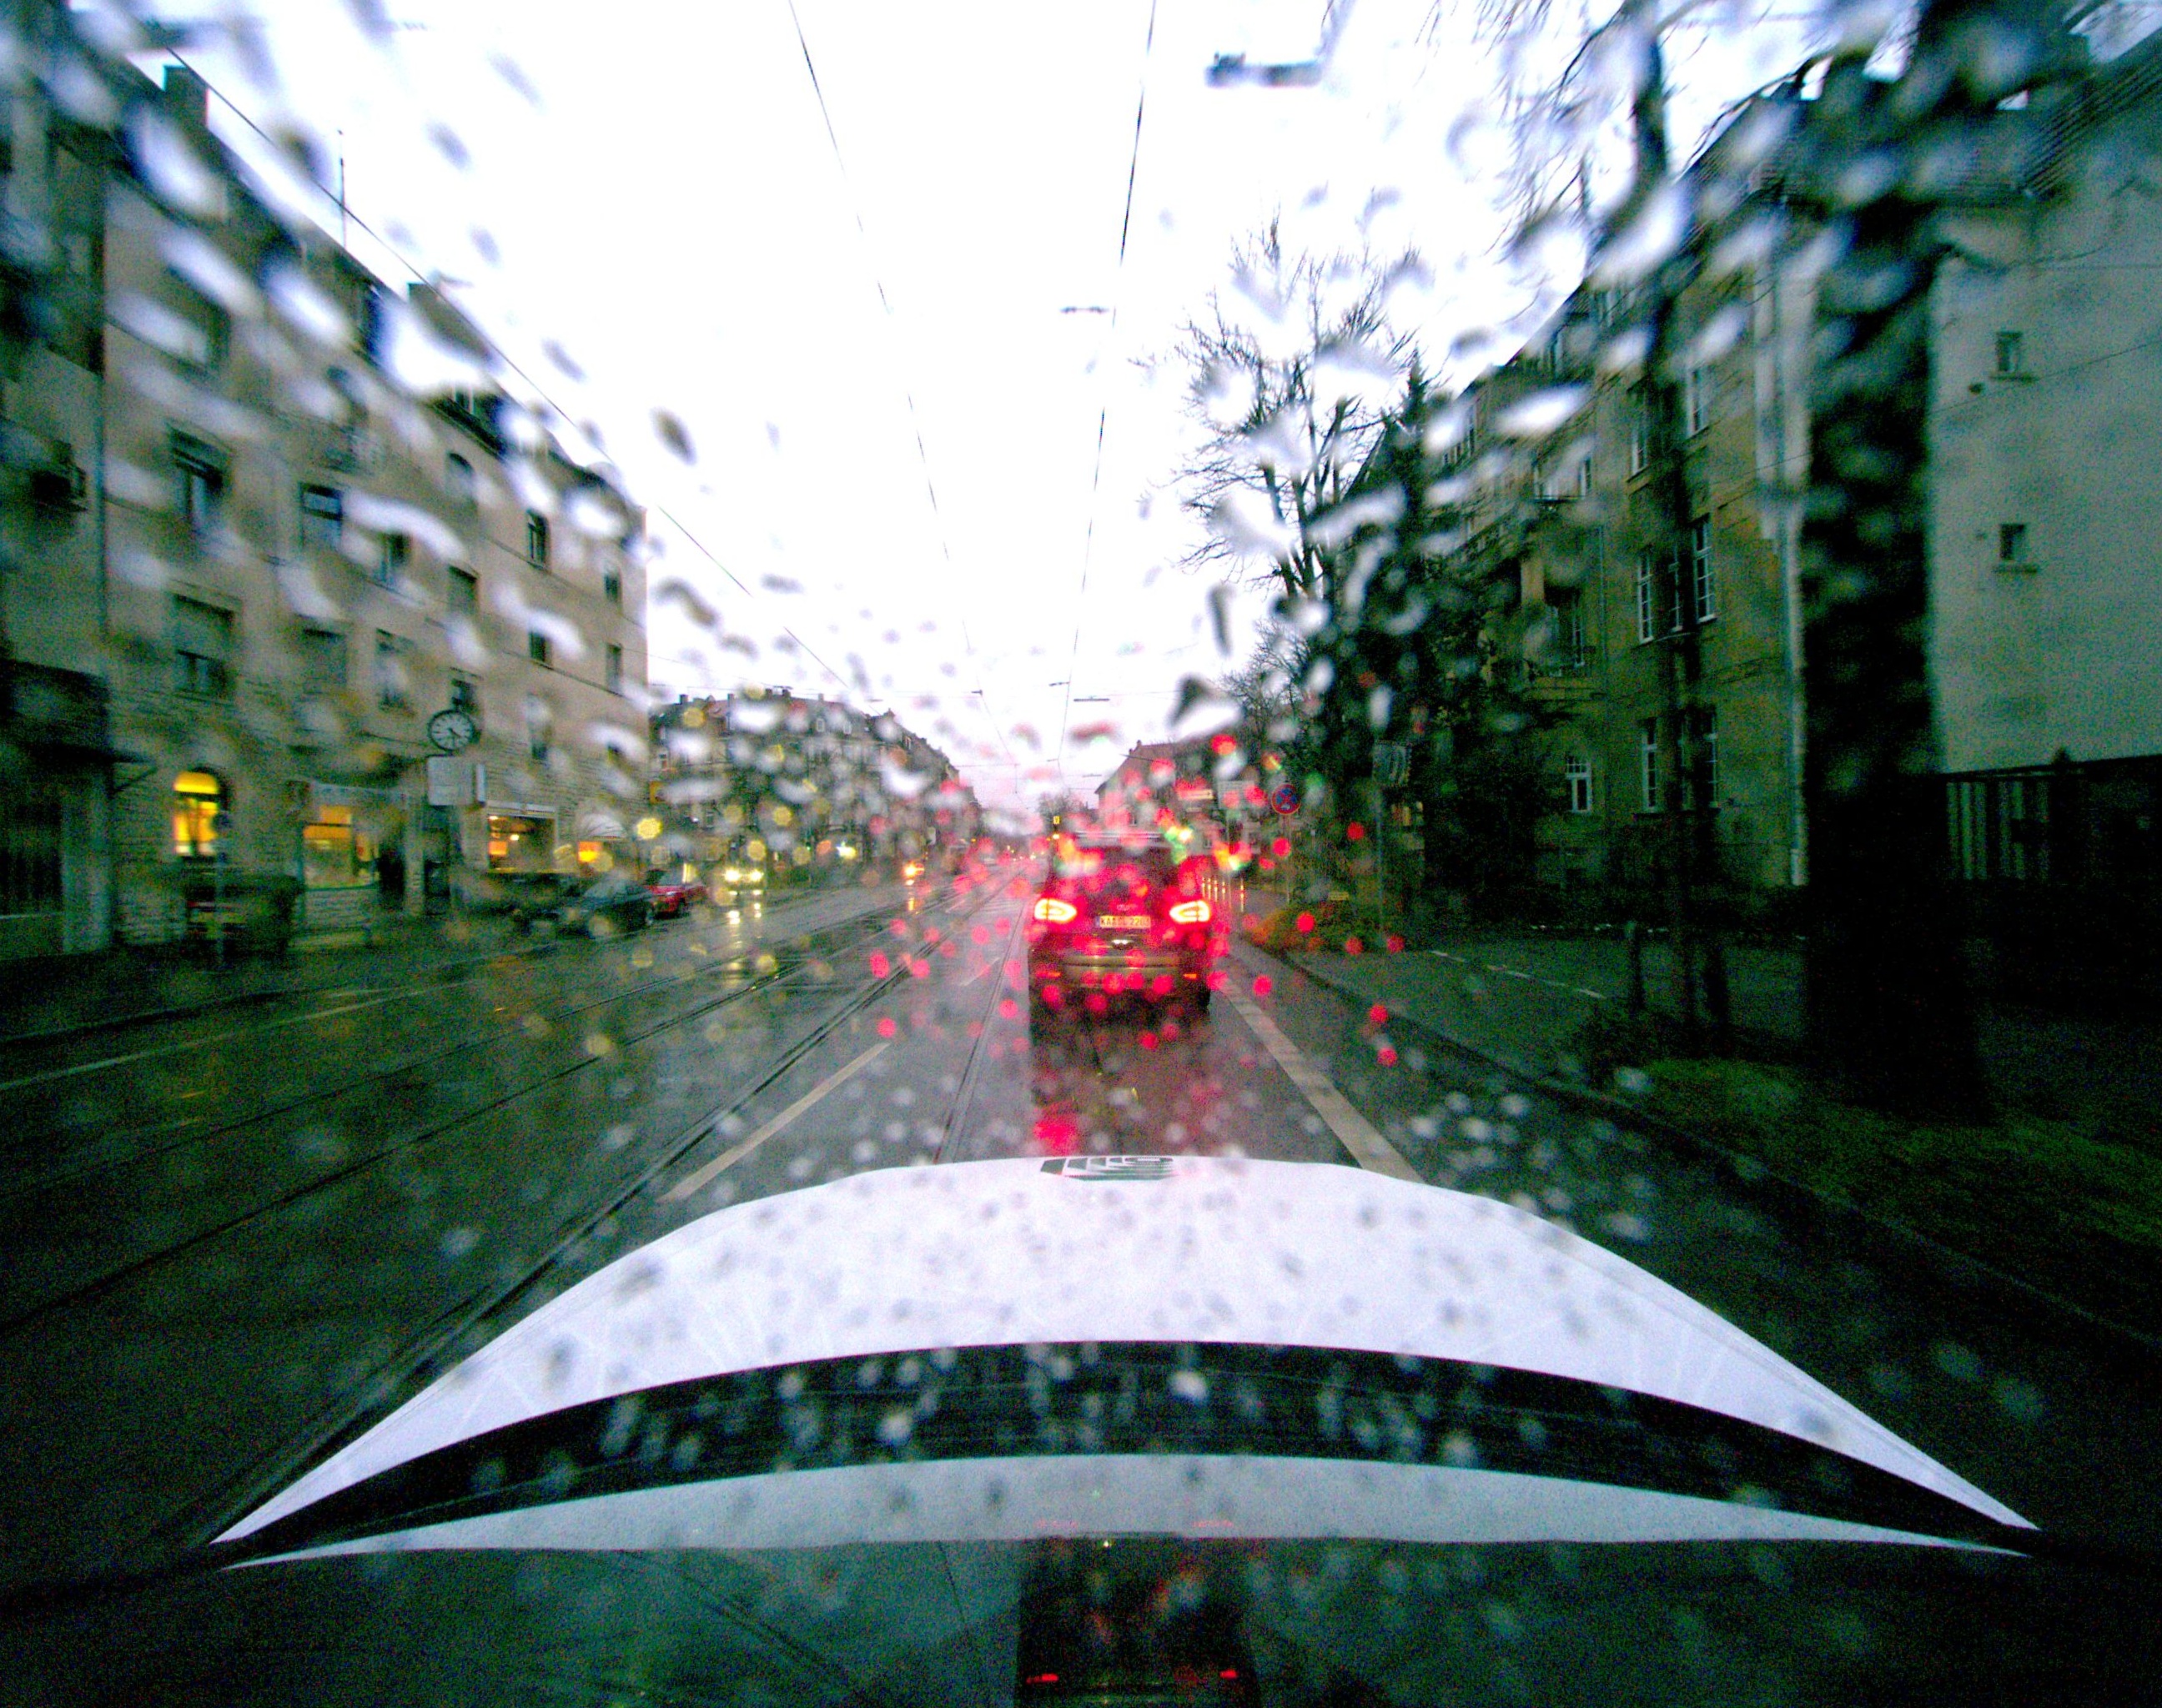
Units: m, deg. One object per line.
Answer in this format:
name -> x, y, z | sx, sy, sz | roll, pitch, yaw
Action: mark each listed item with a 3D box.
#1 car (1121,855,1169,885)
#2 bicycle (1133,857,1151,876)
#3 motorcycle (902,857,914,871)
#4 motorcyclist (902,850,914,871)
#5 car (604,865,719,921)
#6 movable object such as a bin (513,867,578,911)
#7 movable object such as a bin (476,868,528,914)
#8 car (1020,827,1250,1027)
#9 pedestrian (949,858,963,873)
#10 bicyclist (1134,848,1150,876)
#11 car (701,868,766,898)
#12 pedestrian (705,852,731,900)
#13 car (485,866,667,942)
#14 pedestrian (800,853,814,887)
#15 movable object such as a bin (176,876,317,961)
car -> 3.281, 0.779, 41.095 | 1.652, 1.376, 4.017 | -2, 0, 16
bicycle -> 3.776, 0.775, 50.399 | 0.716, 1.112, 1.937 | 2, 0, -7
motorcycle -> -13.062, 0.741, 61.568 | 0.856, 0.992, 1.910 | -1, 0, -13
motorcyclist -> -13.065, 0.487, 61.576 | 0.845, 1.548, 1.010 | -1, 0, -13
car -> -13.679, 1.228, 26.844 | 2.036, 1.552, 4.021 | 2, 0, -8
movable object such as a bin -> -17.728, 1.151, 27.005 | 1.291, 1.367, 1.251 | -1, 0, -3
movable object such as a bin -> -18.165, 1.155, 25.567 | 0.897, 1.377, 1.006 | -1, 0, -3
car -> 0.488, 0.658, 9.745 | 2.097, 1.816, 4.659 | 0, 0, 0
pedestrian -> -10.249, 0.928, 66.901 | 1.044, 1.200, 0.884 | -1, -1, -2
bicyclist -> 3.776, 0.492, 50.330 | 0.716, 1.662, 1.054 | 2, 0, -7
car -> -21.126, 1.739, 49.453 | 3.948, 1.673, 2.035 | -1, 0, 39
pedestrian -> -15.295, 0.930, 34.312 | 0.748, 2.014, 0.652 | -1, -1, 33
car -> -12.727, 1.185, 20.949 | 1.983, 1.645, 4.622 | 3, -1, -5
pedestrian -> -16.480, 0.939, 48.918 | 0.707, 2.013, 0.656 | -1, 0, -22
movable object such as a bin -> -15.273, 1.154, 14.968 | 1.264, 1.420, 1.249 | -1, 0, -2
